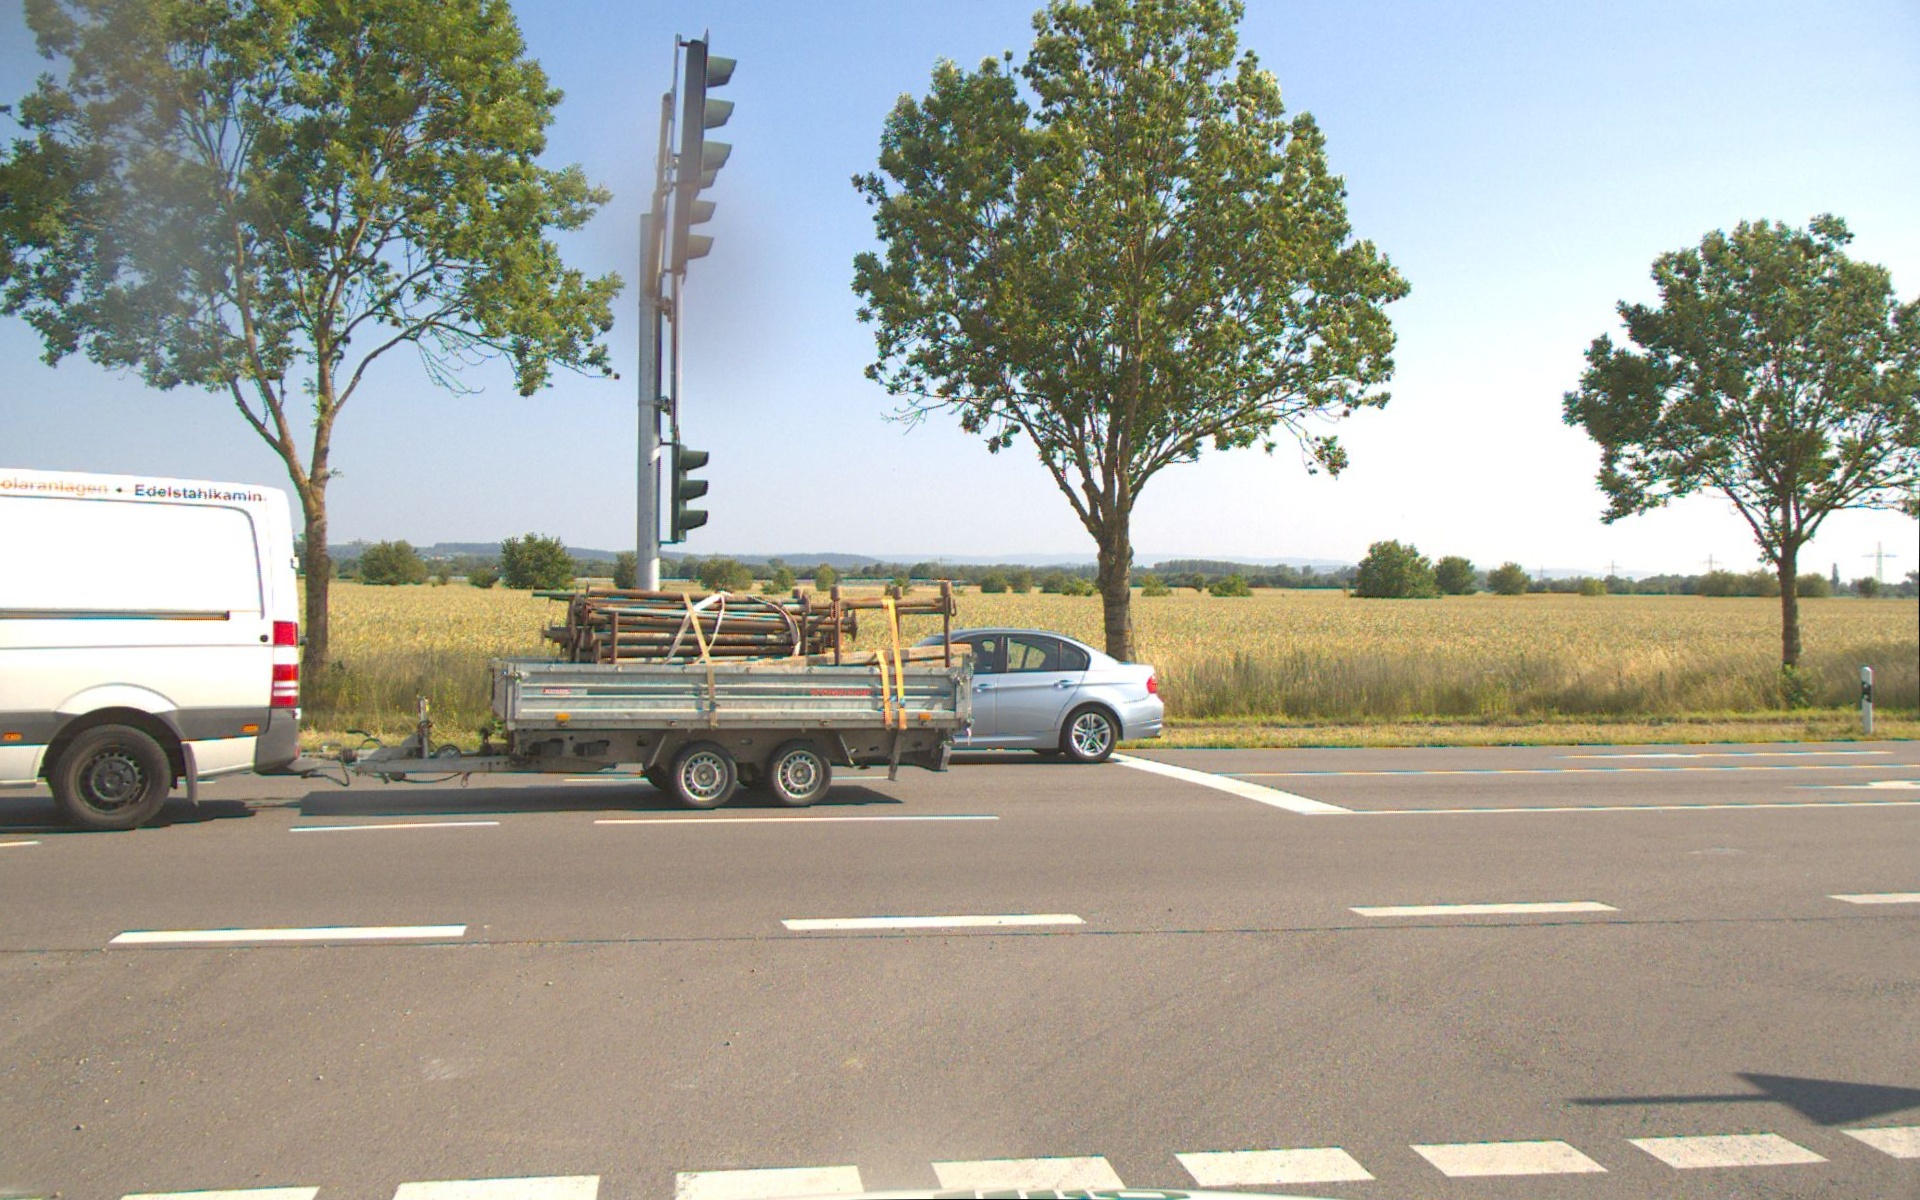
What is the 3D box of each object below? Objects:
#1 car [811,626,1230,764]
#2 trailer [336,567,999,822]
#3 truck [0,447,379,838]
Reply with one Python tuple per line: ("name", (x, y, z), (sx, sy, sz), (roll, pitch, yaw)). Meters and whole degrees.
("car", (0.632, 1.017, 18.174), (4.333, 1.401, 1.628), (1, -2, -14))
("trailer", (-2.321, 0.697, 13.248), (4.921, 1.768, 1.969), (1, -1, -20))
("truck", (-7.187, 0.259, 10.803), (6.117, 2.447, 2.049), (1, -1, -32))
